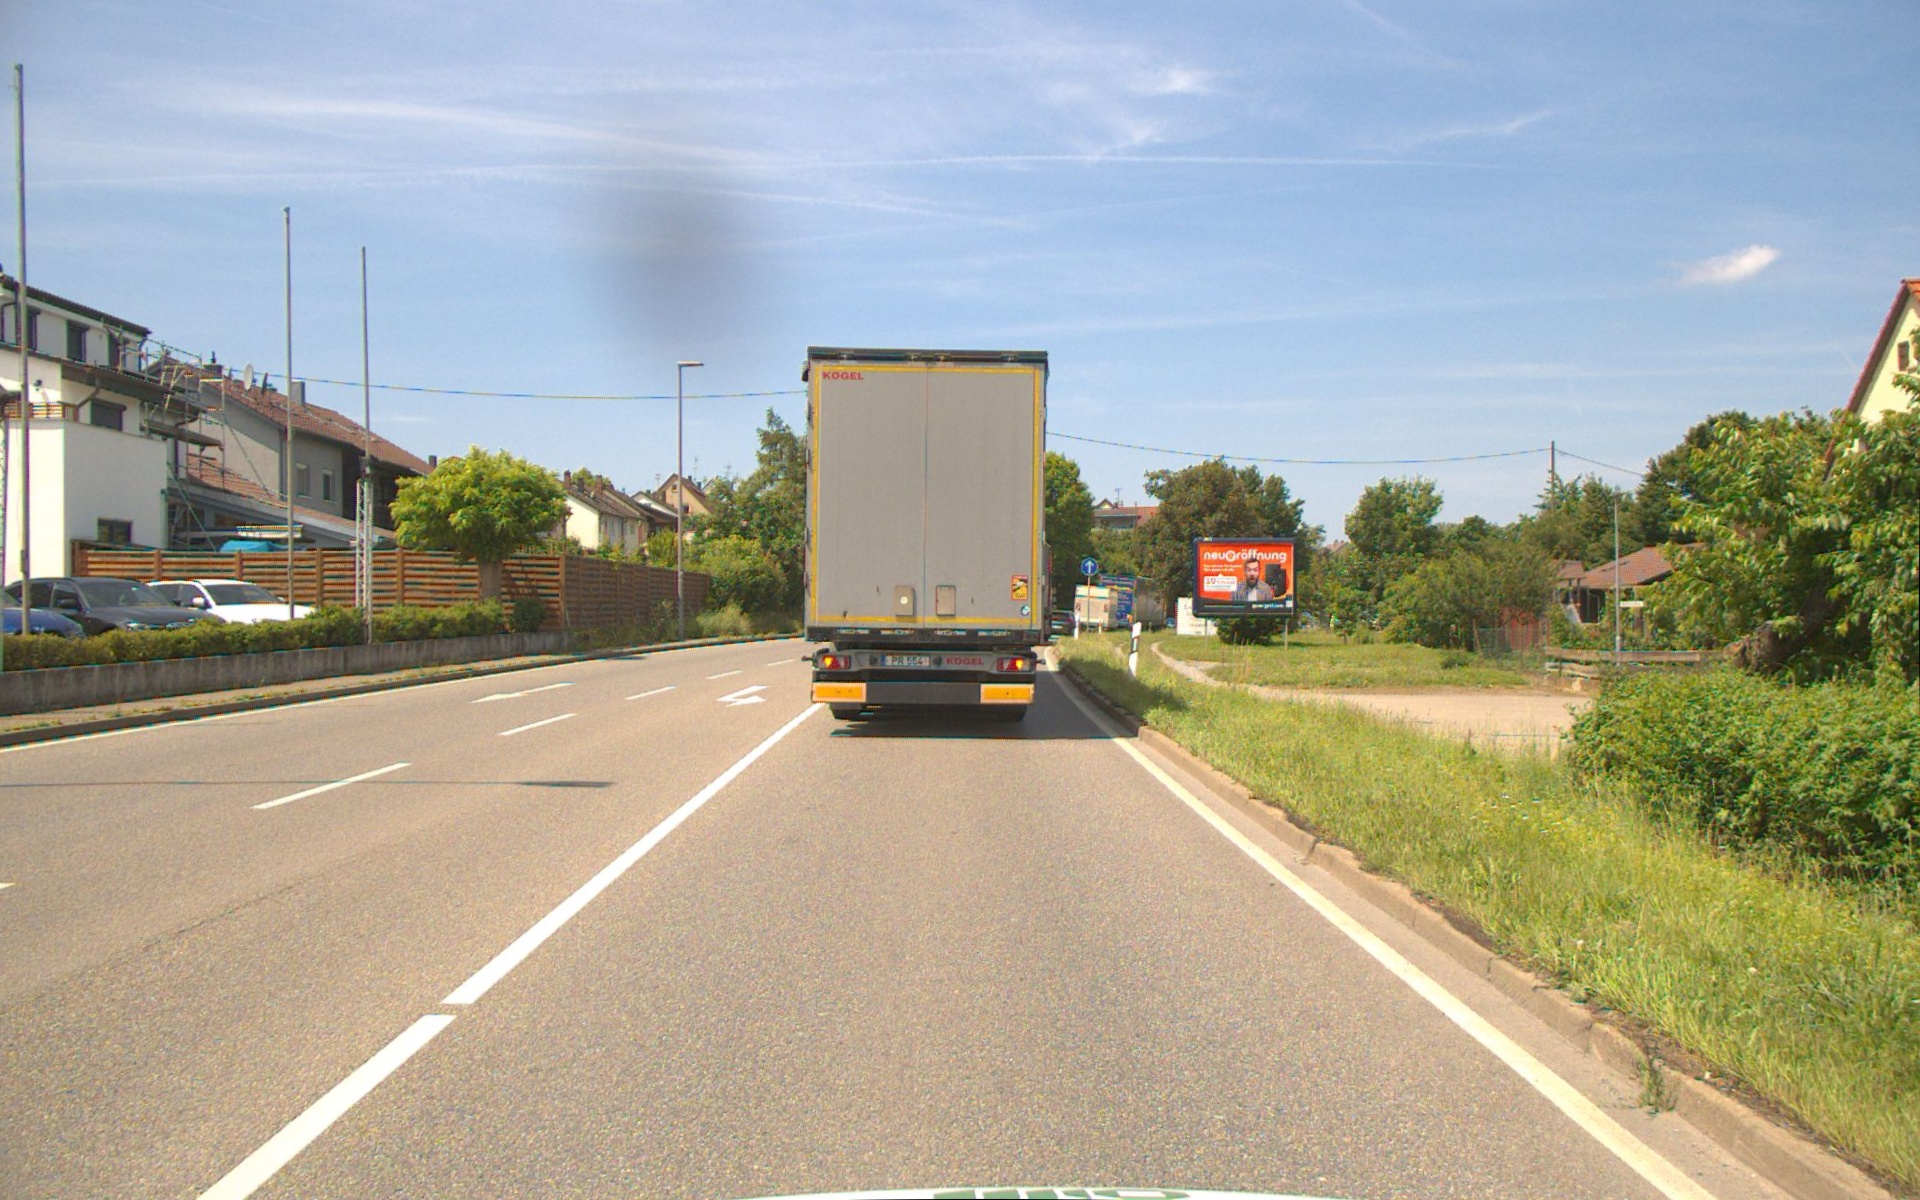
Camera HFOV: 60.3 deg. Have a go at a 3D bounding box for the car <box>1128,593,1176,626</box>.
[{"bbox_3d":[14.379,0.690,123.411,2.478,2.317,6.385,1,0,16],"label":"car"}]

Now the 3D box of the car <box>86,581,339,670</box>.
[{"bbox_3d":[-13.536,0.451,29.950,4.242,1.473,1.855,1,-1,25],"label":"car"}]

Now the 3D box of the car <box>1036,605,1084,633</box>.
[{"bbox_3d":[5.329,1.029,87.716,1.951,1.400,4.003,1,-1,12],"label":"car"}]

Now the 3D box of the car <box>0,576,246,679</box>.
[{"bbox_3d":[-13.426,0.399,25.754,4.242,1.473,1.897,1,-1,25],"label":"car"}]

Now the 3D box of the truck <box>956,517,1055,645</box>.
[{"bbox_3d":[2.025,-0.525,65.440,2.702,4.364,16.424,1,-1,5],"label":"truck"}]

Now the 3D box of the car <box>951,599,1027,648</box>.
[{"bbox_3d":[0.911,0.702,49.763,1.780,1.370,3.850,1,-1,8],"label":"car"}]

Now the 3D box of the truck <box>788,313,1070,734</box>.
[{"bbox_3d":[-0.357,-0.763,22.518,2.764,4.200,11.441,1,0,0],"label":"truck"}]

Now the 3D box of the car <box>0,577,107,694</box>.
[{"bbox_3d":[-13.768,0.425,22.181,4.241,1.473,1.856,1,-1,24],"label":"car"}]

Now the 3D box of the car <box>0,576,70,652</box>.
[{"bbox_3d":[-21.091,0.246,34.806,3.902,1.536,1.836,1,0,13],"label":"car"}]

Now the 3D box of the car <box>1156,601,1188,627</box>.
[{"bbox_3d":[17.170,1.128,133.804,1.951,2.049,4.002,1,-1,16],"label":"car"}]

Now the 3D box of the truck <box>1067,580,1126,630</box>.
[{"bbox_3d":[8.362,0.339,100.823,2.489,2.852,6.036,1,-1,15],"label":"truck"}]

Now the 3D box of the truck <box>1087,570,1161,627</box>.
[{"bbox_3d":[11.289,-0.121,112.868,3.360,3.667,9.360,1,0,16],"label":"truck"}]
